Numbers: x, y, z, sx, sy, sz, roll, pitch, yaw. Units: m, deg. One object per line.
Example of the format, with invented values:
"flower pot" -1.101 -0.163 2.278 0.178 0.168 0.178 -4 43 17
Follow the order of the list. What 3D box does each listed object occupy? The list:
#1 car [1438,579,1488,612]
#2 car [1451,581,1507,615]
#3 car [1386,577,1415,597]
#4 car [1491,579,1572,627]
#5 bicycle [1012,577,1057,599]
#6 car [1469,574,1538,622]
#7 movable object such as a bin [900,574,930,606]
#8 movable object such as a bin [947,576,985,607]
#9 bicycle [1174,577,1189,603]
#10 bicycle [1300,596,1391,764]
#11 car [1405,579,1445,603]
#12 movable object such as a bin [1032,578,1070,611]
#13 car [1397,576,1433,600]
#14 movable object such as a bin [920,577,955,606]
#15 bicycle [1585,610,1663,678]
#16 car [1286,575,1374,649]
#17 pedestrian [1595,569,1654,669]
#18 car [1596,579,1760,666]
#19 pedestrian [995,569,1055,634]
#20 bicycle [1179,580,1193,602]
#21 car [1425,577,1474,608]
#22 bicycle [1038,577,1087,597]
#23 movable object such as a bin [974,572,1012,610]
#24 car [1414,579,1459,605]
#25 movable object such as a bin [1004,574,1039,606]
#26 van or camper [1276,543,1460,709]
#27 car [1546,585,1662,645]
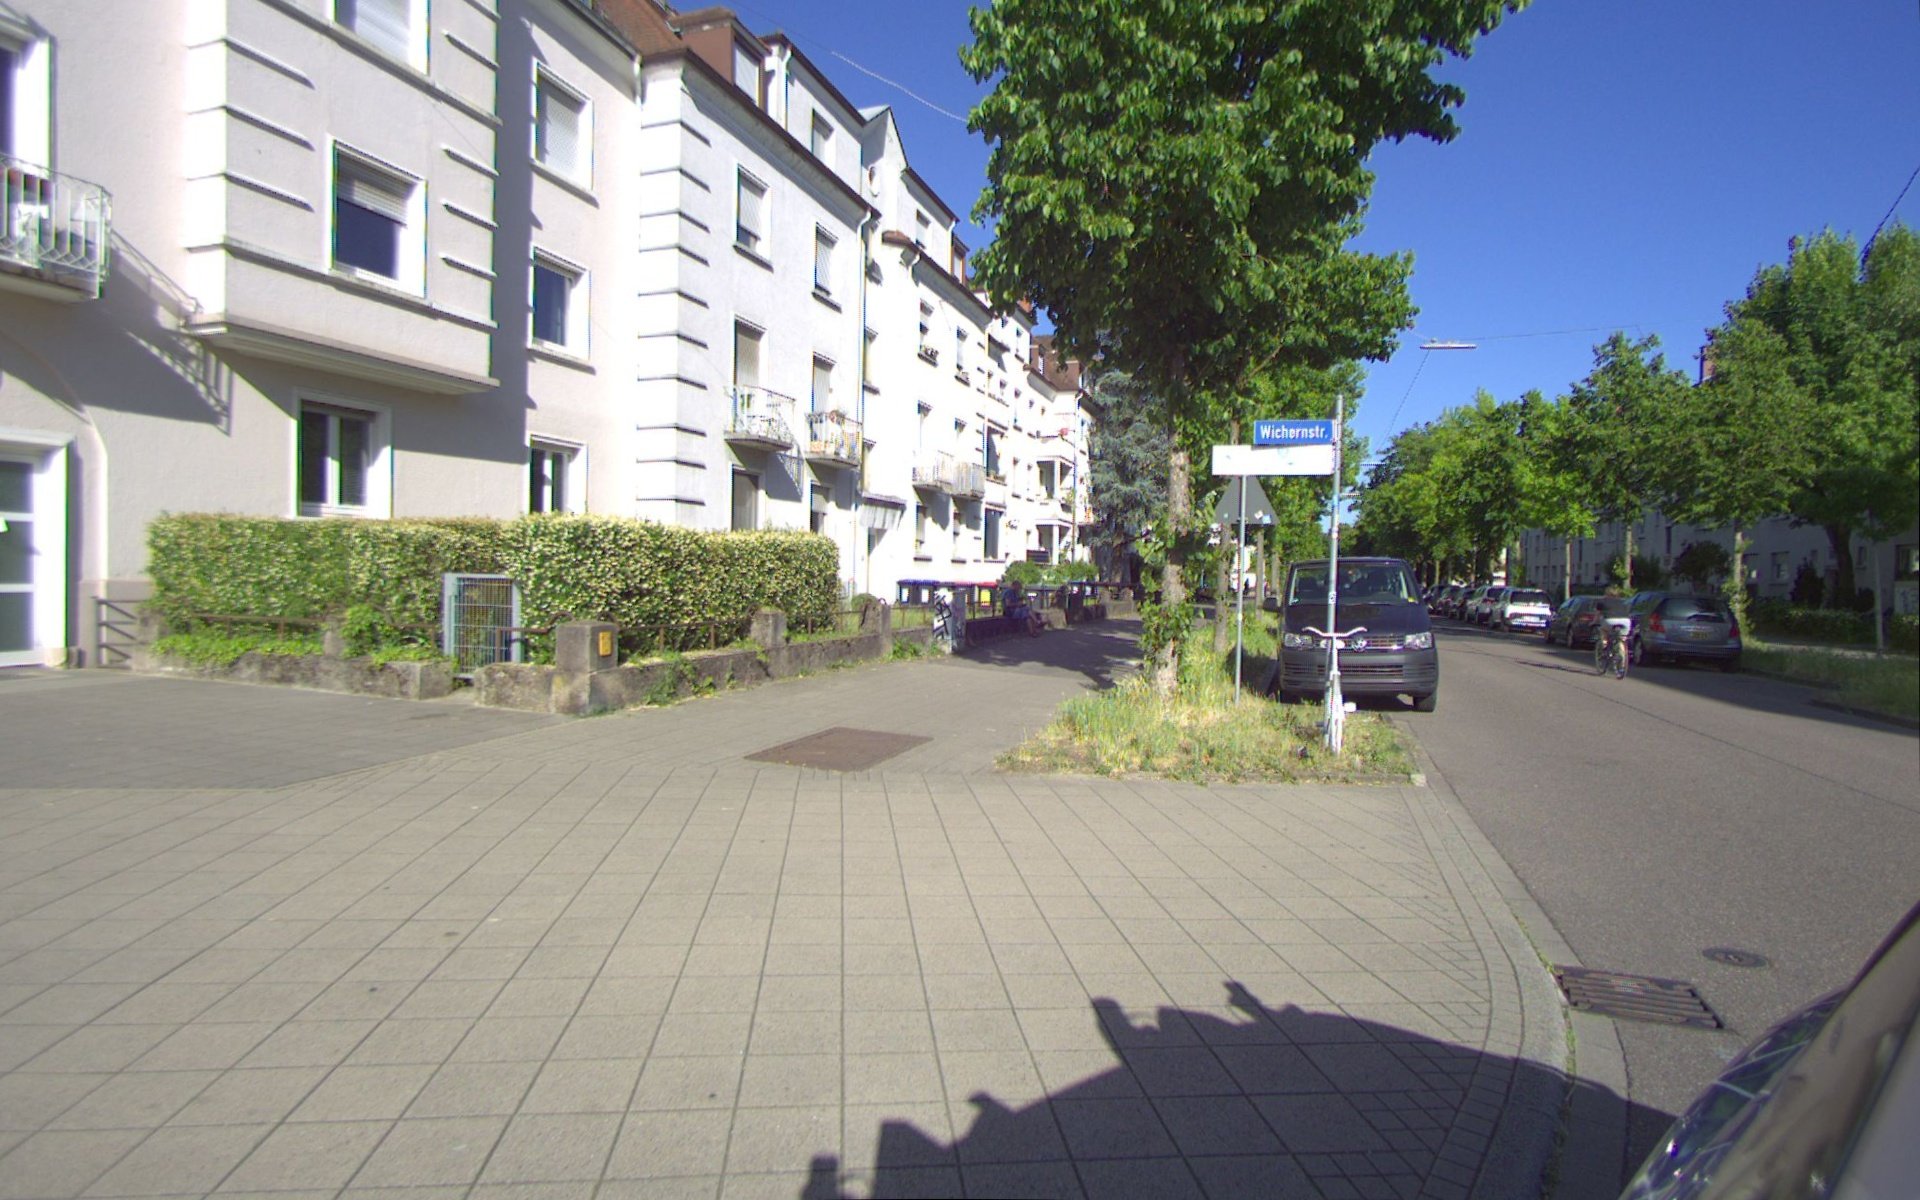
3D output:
"car" 25.214 -0.278 50.827 1.633 1.462 3.944 2 3 18
"car" 23.679 -0.128 46.317 1.641 1.409 4.212 1 2 18
"car" 35.988 -1.115 82.717 1.747 1.514 3.992 -1 2 19
"car" 20.143 0.057 35.831 1.699 1.545 3.978 -1 2 18
"bicycle" 3.476 -0.580 47.443 2.015 0.929 0.554 2 2 25
"car" 21.812 -0.133 40.793 1.687 1.700 4.199 2 3 18
"movable object such as a bin" -1.339 -0.297 30.052 0.665 0.933 0.591 -1 1 24
"movable object such as a bin" 0.187 -0.260 29.443 0.770 0.873 1.002 -1 1 25
"bicycle" 10.493 -0.486 47.885 0.484 1.212 2.163 -1 1 18
"bicycle" 3.261 0.603 8.692 0.522 1.208 2.021 1 2 15
"car" 30.456 -0.637 66.414 1.856 1.392 4.159 2 3 19
"movable object such as a bin" 2.561 -0.159 28.498 0.770 0.873 1.002 -1 1 24
"car" 32.199 -0.883 71.739 1.856 1.581 4.159 2 3 19
"movable object such as a bin" -0.649 -0.252 29.618 0.770 0.832 0.737 -1 1 24
"bicycle" 11.572 0.738 17.695 0.542 1.024 1.911 0 2 15
"car" 9.340 0.204 25.594 1.881 1.633 4.941 0 2 20
"pedestrian" 11.539 0.309 17.608 0.685 1.660 1.038 -1 1 24
"car" 15.415 0.398 21.980 1.703 1.581 4.085 2 2 18
"pedestrian" 1.384 0.021 21.320 1.071 1.311 0.814 -1 2 19
"bicycle" 11.247 -0.448 50.328 0.427 1.024 2.237 -5 0 17
"car" 26.751 -0.452 55.466 1.798 1.604 4.382 2 2 18
"bicycle" 4.514 -0.584 44.466 2.041 0.779 0.622 -3 1 21
"movable object such as a bin" 0.948 -0.258 29.085 0.770 1.039 1.002 -1 1 24
"car" 28.325 -0.503 60.260 1.856 1.392 4.045 2 3 19
"movable object such as a bin" 1.752 -0.282 28.825 0.770 0.873 0.759 -1 1 24
"van or camper" 5.595 0.222 14.340 1.970 1.886 5.355 -1 2 19
"car" 17.248 0.361 27.316 1.643 1.412 4.069 -1 2 18
